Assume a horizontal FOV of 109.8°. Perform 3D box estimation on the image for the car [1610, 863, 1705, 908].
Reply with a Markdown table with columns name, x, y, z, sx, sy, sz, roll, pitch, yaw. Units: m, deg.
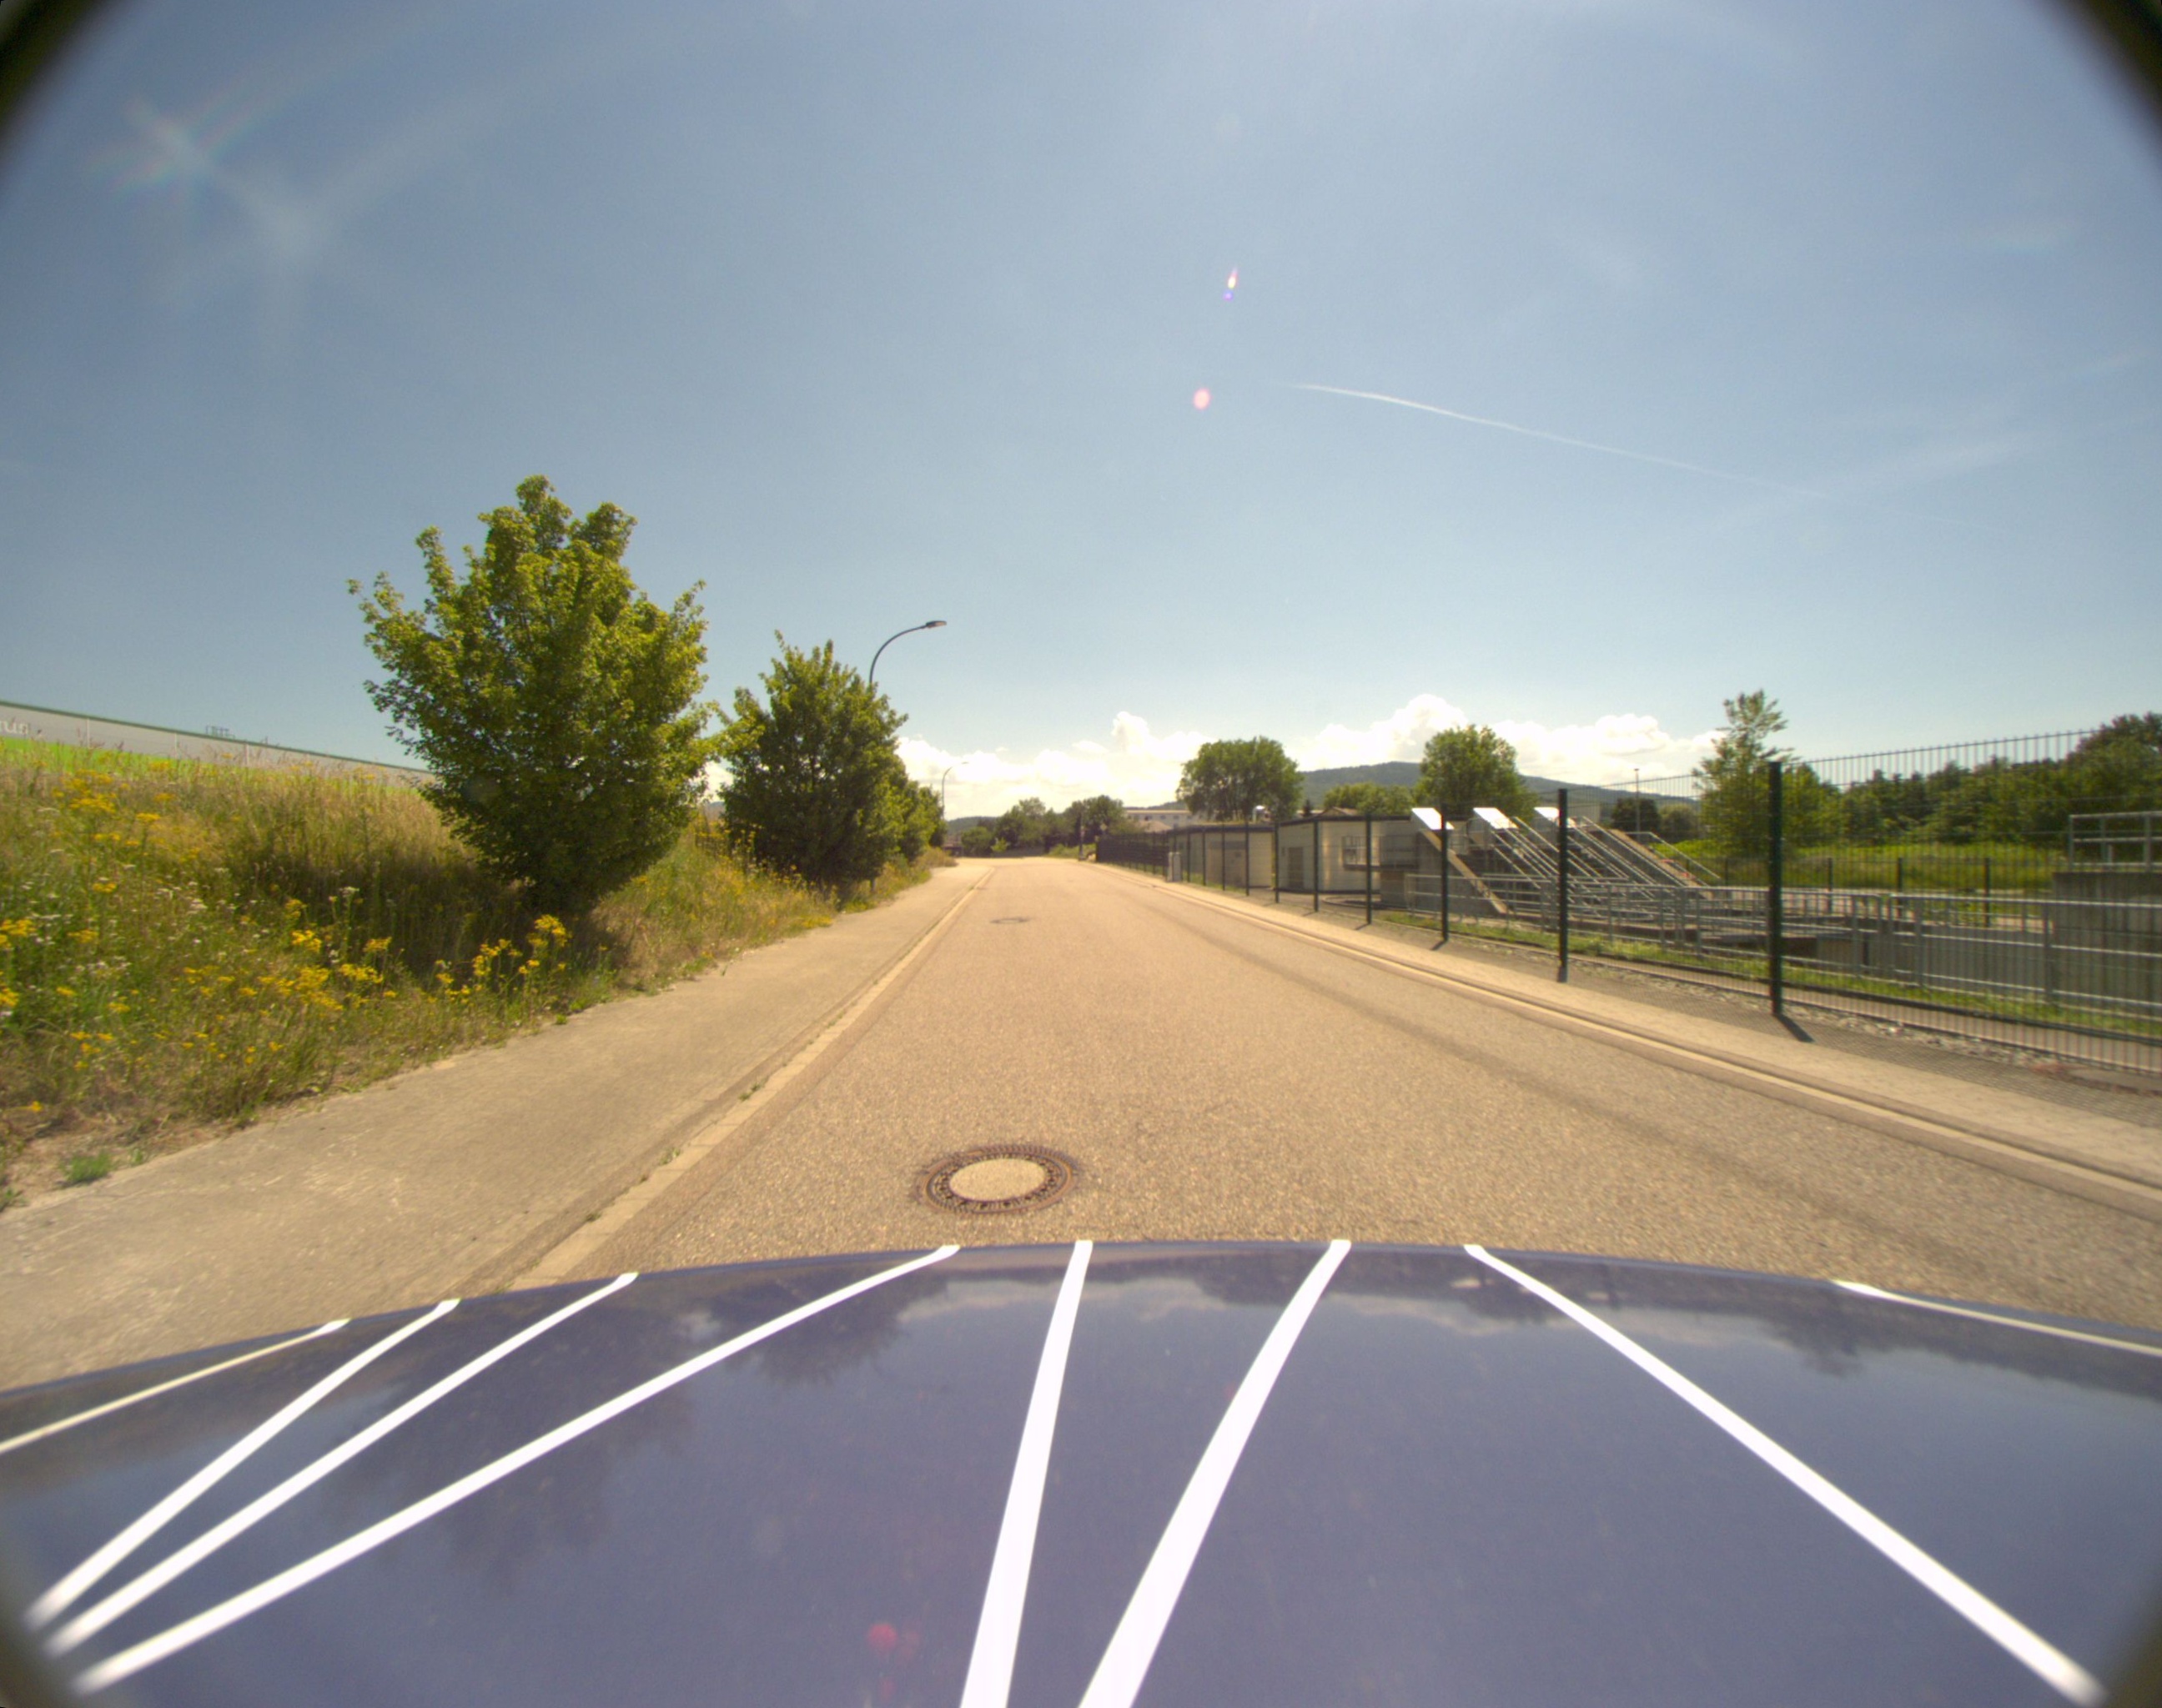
| name | x | y | z | sx | sy | sz | roll | pitch | yaw |
| --- | --- | --- | --- | --- | --- | --- | --- | --- | --- |
| car | 29.351 | 1.554 | 38.884 | 1.996 | 2.002 | 4.868 | 3 | 1 | 13 |
